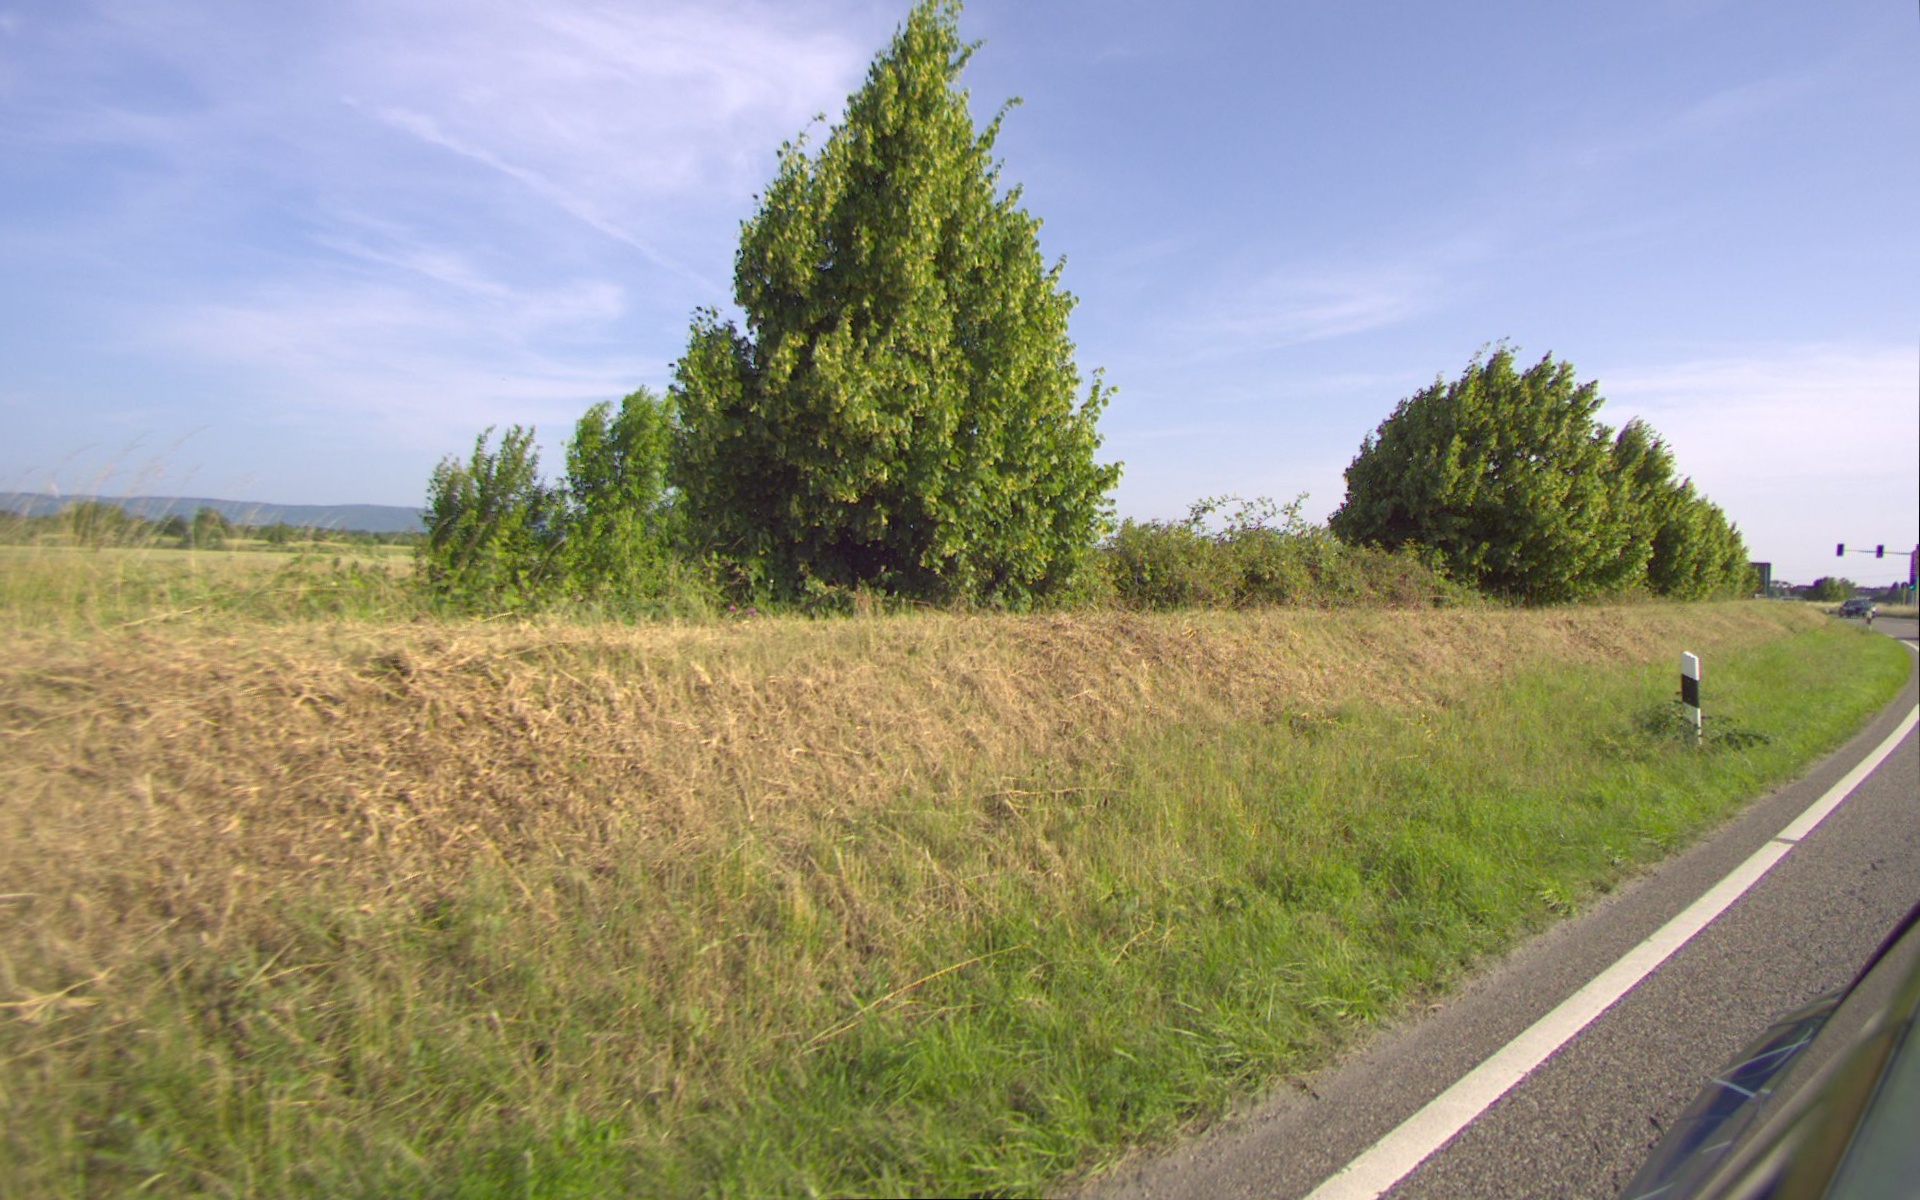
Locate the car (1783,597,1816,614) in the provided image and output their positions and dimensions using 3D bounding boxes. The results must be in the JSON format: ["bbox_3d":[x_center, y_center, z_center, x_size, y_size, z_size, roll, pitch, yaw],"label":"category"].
[{"bbox_3d":[83.578,0.555,100.846,1.816,1.549,3.959,1,1,29],"label":"car"}]

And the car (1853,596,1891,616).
[{"bbox_3d":[72.028,0.453,79.958,1.742,1.549,3.949,1,1,35],"label":"car"}]
